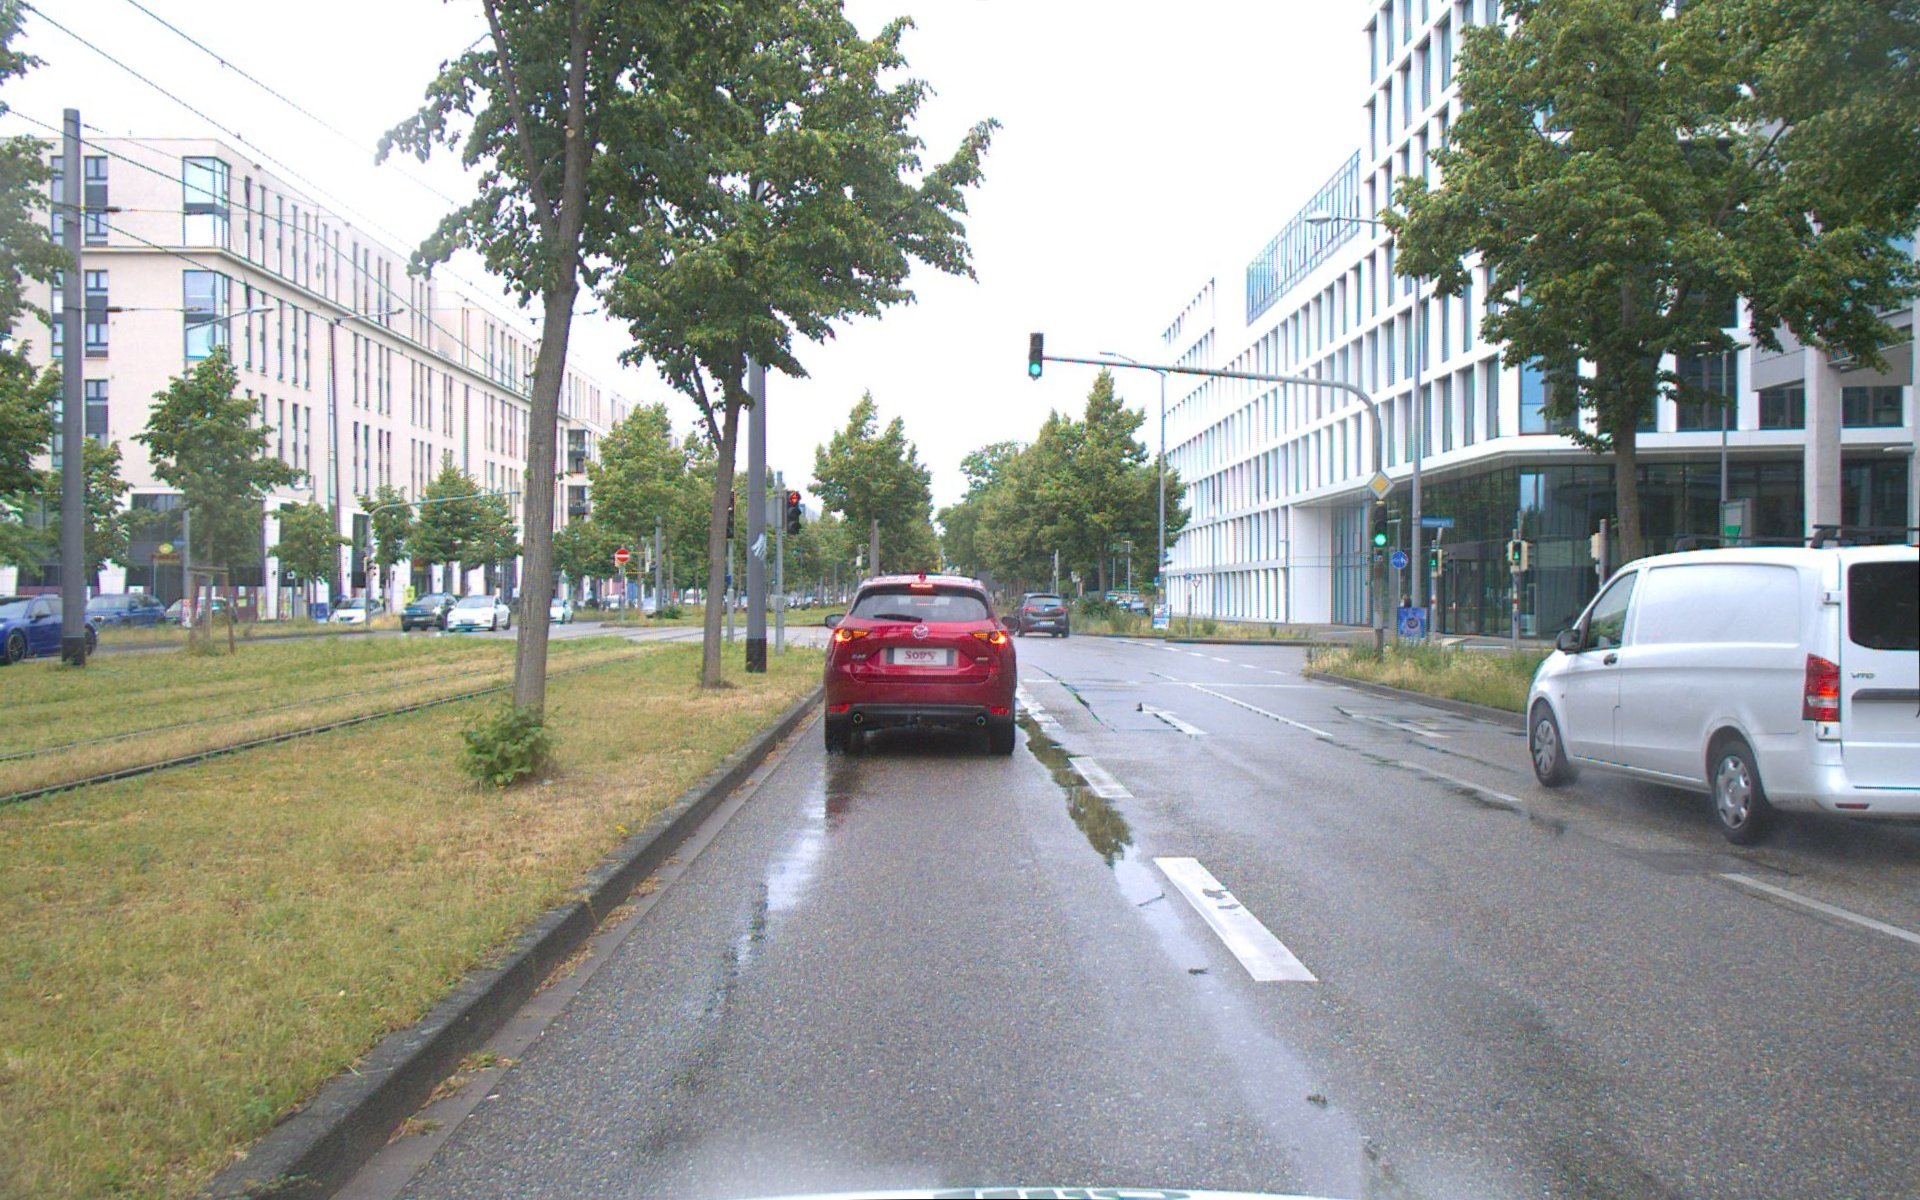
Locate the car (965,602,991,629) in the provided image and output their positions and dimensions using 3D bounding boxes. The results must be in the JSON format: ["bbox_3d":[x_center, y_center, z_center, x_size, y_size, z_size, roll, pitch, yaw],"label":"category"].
[{"bbox_3d":[1.381,1.230,129.364,1.953,2.049,3.999,0,0,-1],"label":"car"}]

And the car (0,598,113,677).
[{"bbox_3d":[-20.127,0.736,35.036,1.953,1.548,5.009,0,0,-2],"label":"car"}]

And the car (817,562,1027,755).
[{"bbox_3d":[-0.391,0.511,16.730,1.860,1.706,3.999,0,0,-2],"label":"car"}]

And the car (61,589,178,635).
[{"bbox_3d":[-28.949,0.394,57.149,1.954,1.510,4.443,1,0,-3],"label":"car"}]

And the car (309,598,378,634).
[{"bbox_3d":[-29.143,0.752,78.291,1.954,1.646,3.998,0,0,-3],"label":"car"}]

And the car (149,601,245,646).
[{"bbox_3d":[-29.174,0.884,63.376,1.955,1.626,4.441,1,0,-5],"label":"car"}]

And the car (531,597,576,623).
[{"bbox_3d":[-24.007,0.583,97.760,1.955,1.510,4.440,0,0,-6],"label":"car"}]

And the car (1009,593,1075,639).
[{"bbox_3d":[2.728,0.529,55.976,1.710,1.490,3.777,0,0,-5],"label":"car"}]

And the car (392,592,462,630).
[{"bbox_3d":[-23.591,0.451,73.389,1.954,1.646,3.998,0,0,-3],"label":"car"}]

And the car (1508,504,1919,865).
[{"bbox_3d":[5.778,0.497,11.815,1.927,2.014,5.090,1,0,-1],"label":"car"}]

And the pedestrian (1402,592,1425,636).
[{"bbox_3d":[17.945,0.540,65.404,0.663,1.737,0.784,1,0,-1],"label":"pedestrian"}]

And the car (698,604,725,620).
[{"bbox_3d":[-23.477,1.132,156.377,1.953,1.510,4.445,0,0,-1],"label":"car"}]

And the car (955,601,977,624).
[{"bbox_3d":[0.523,1.145,150.737,1.953,2.049,3.999,0,0,-1],"label":"car"}]

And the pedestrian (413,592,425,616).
[{"bbox_3d":[-39.108,0.274,119.614,0.622,1.748,0.742,1,0,1],"label":"pedestrian"}]

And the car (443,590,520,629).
[{"bbox_3d":[-19.448,0.357,67.434,1.953,1.510,4.444,1,0,-2],"label":"car"}]

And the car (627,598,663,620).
[{"bbox_3d":[-21.992,0.606,115.555,1.954,1.510,4.442,0,0,-4],"label":"car"}]
